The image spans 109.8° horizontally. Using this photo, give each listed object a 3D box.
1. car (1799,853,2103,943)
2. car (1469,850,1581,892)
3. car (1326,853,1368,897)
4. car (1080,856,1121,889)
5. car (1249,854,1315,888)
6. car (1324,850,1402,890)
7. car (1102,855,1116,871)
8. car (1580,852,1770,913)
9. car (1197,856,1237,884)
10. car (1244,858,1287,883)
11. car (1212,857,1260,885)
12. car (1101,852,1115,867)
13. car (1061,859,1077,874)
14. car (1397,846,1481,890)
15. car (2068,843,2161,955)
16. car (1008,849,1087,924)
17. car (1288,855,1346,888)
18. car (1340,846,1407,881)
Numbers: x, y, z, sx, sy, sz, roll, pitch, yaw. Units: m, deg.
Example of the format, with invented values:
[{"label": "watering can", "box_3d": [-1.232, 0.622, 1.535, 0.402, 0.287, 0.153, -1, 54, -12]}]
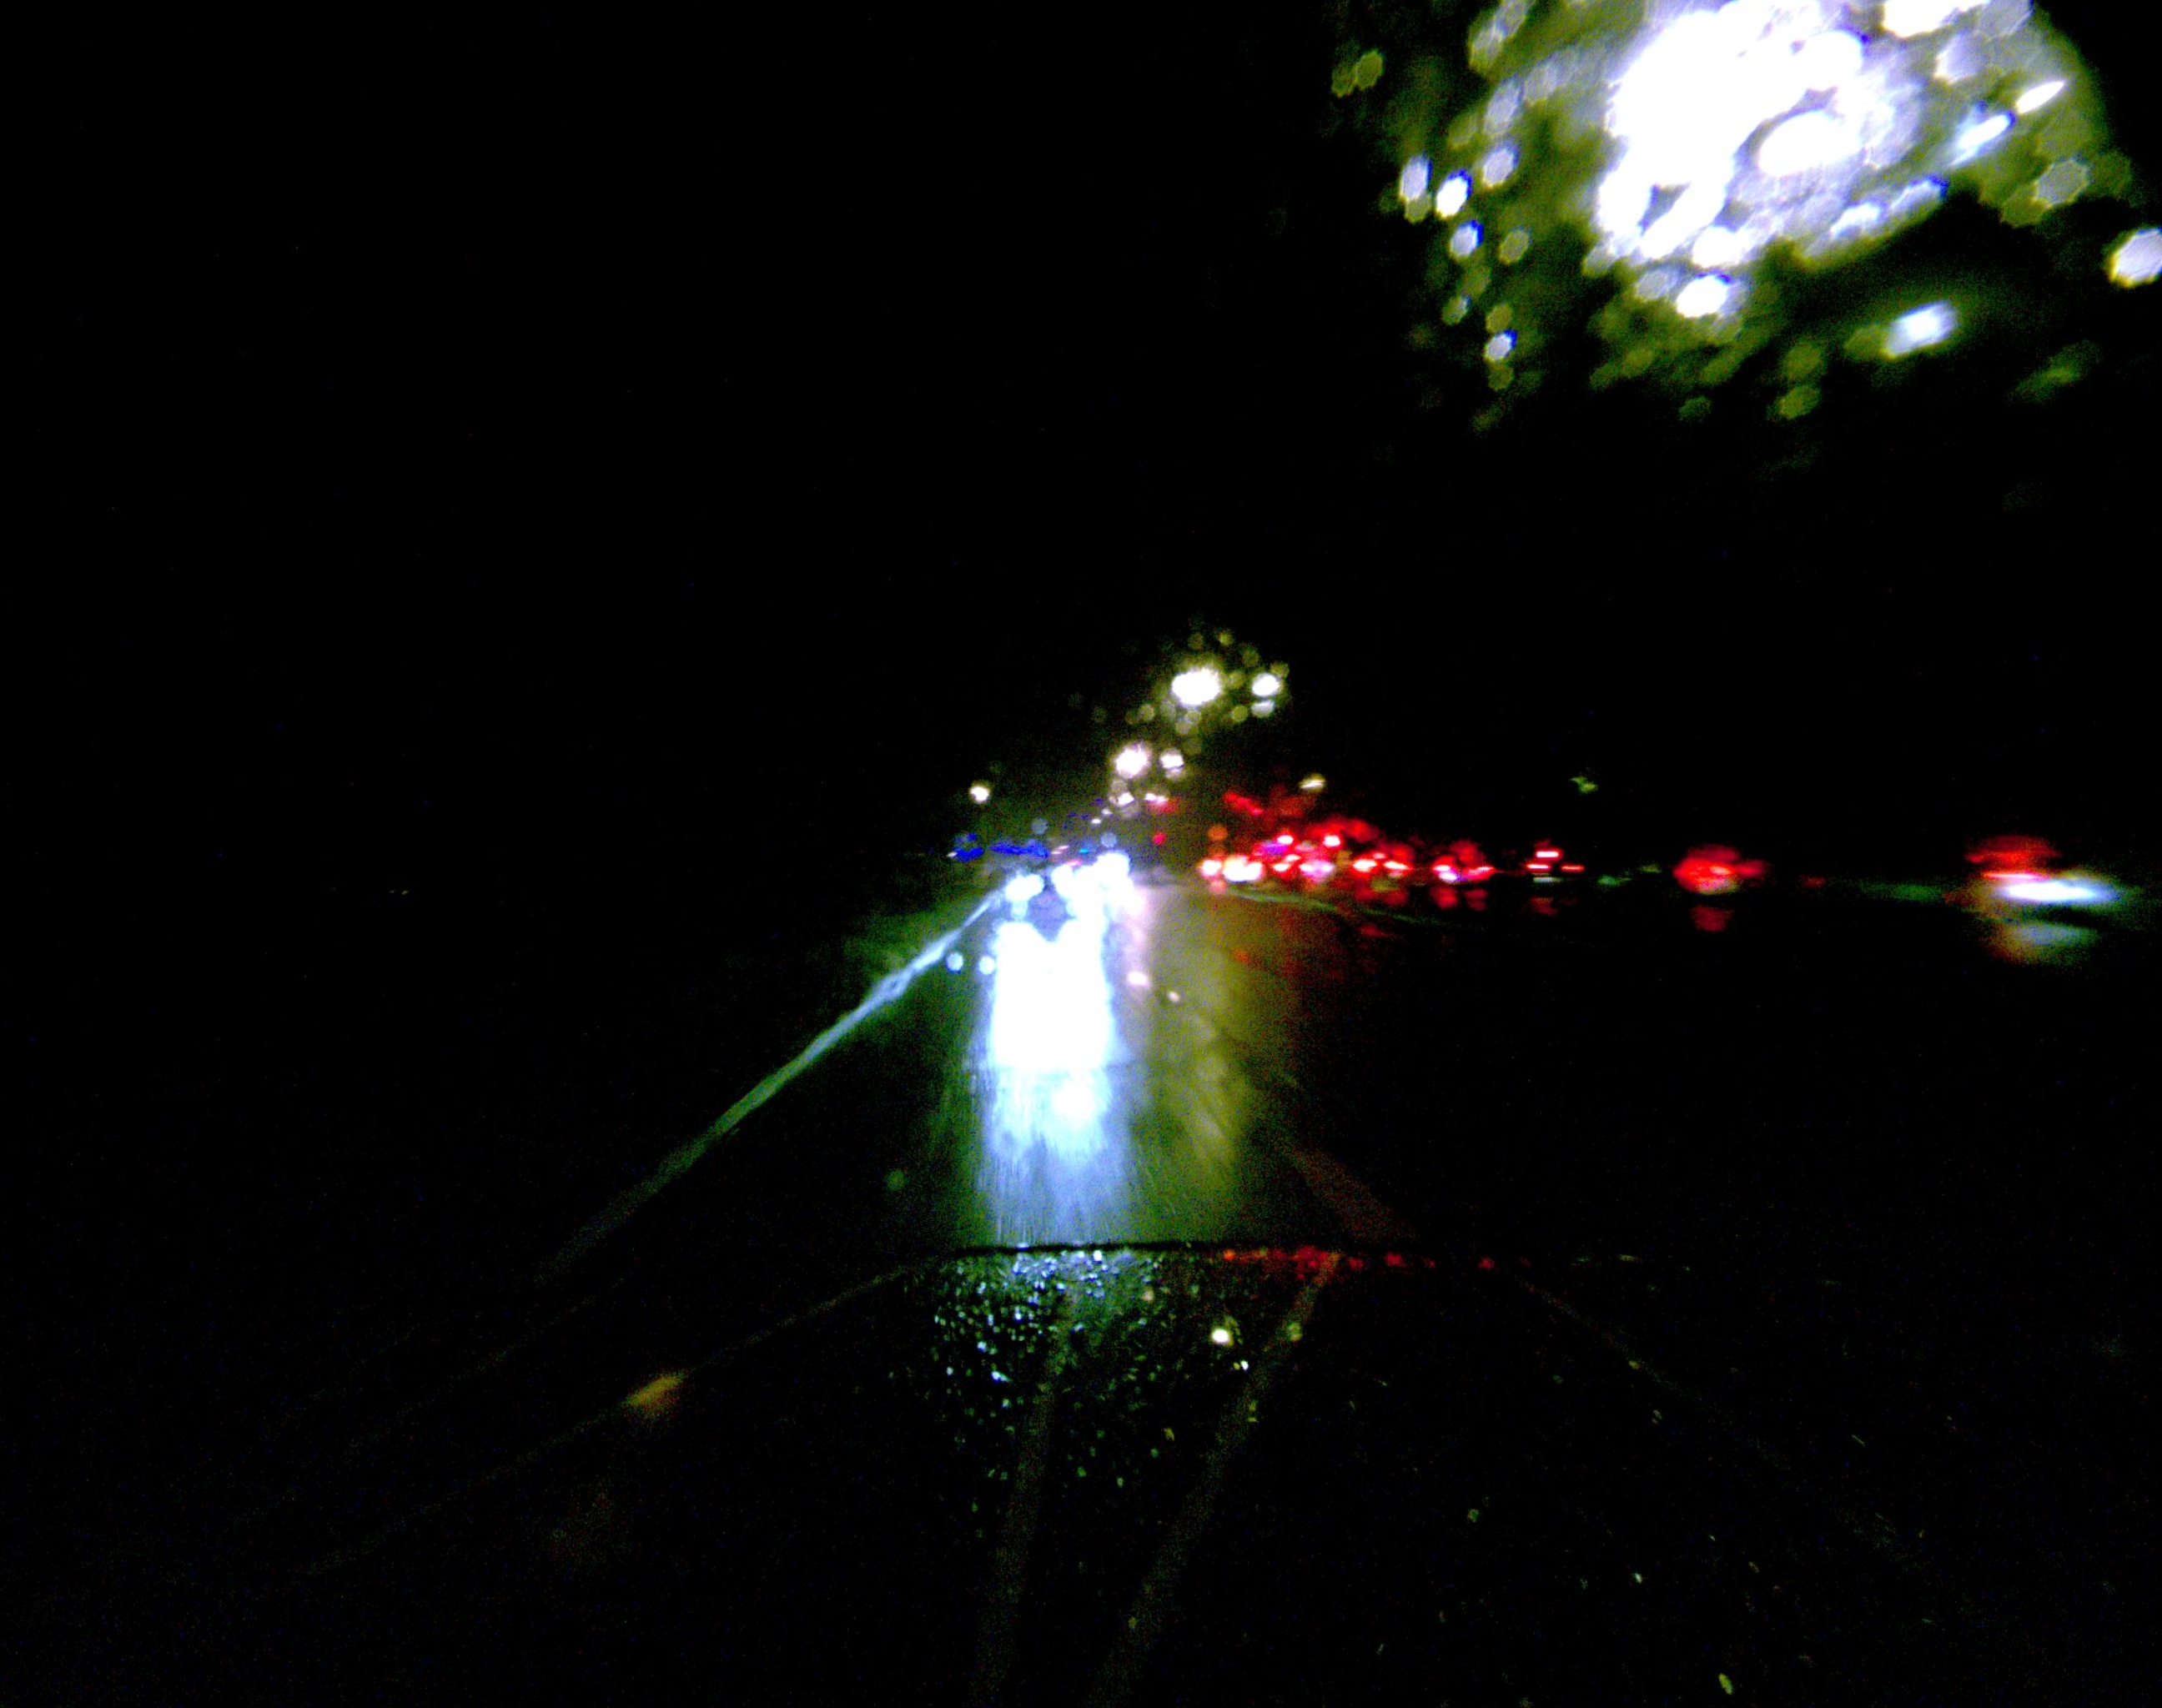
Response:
[{"label": "car", "box_3d": [17.864, 0.807, 15.953, 1.497, 1.593, 4.145, -2, 0, -3]}, {"label": "car", "box_3d": [16.969, 0.606, 29.273, 1.764, 1.369, 4.037, -2, 1, -3]}, {"label": "car", "box_3d": [18.646, 1.409, 53.073, 2.251, 2.695, 5.617, -1, 2, 25]}, {"label": "car", "box_3d": [1.030, 0.985, 42.105, 1.831, 1.640, 4.134, -2, 1, -3]}, {"label": "car", "box_3d": [9.870, 0.797, 37.634, 1.818, 1.568, 4.304, -1, 0, -4]}, {"label": "car", "box_3d": [13.144, 0.697, 35.730, 1.803, 1.656, 4.485, -2, 1, -3]}, {"label": "car", "box_3d": [3.681, 1.172, 101.452, 1.666, 1.843, 4.145, -2, 2, 0]}, {"label": "car", "box_3d": [17.287, 0.755, 22.458, 1.857, 1.530, 4.530, 1, 1, -3]}, {"label": "car", "box_3d": [9.109, 1.041, 51.113, 1.764, 1.715, 3.900, -2, 0, -3]}, {"label": "car", "box_3d": [12.384, 1.053, 51.242, 1.717, 1.479, 4.055, -2, 1, -3]}, {"label": "car", "box_3d": [9.075, 0.968, 44.794, 1.781, 1.475, 4.411, -2, 0, -2]}, {"label": "car", "box_3d": [3.863, 0.757, 109.132, 1.793, 2.013, 4.145, -2, 2, 0]}, {"label": "car", "box_3d": [-1.593, 1.642, 100.094, 1.957, 1.623, 4.258, -2, 2, 0]}, {"label": "car", "box_3d": [16.630, 0.588, 35.510, 1.764, 1.838, 4.122, -2, 1, -3]}, {"label": "car", "box_3d": [17.347, 0.678, 10.323, 1.889, 1.522, 4.429, -6, 1, -5]}, {"label": "car", "box_3d": [-0.943, 0.943, 23.759, 2.003, 1.914, 4.370, -6, -1, 1]}, {"label": "car", "box_3d": [13.143, 0.929, 42.524, 1.803, 1.656, 3.974, -2, 1, -3]}, {"label": "car", "box_3d": [16.060, 0.541, 41.939, 1.803, 1.788, 4.250, -2, -1, -3]}]
